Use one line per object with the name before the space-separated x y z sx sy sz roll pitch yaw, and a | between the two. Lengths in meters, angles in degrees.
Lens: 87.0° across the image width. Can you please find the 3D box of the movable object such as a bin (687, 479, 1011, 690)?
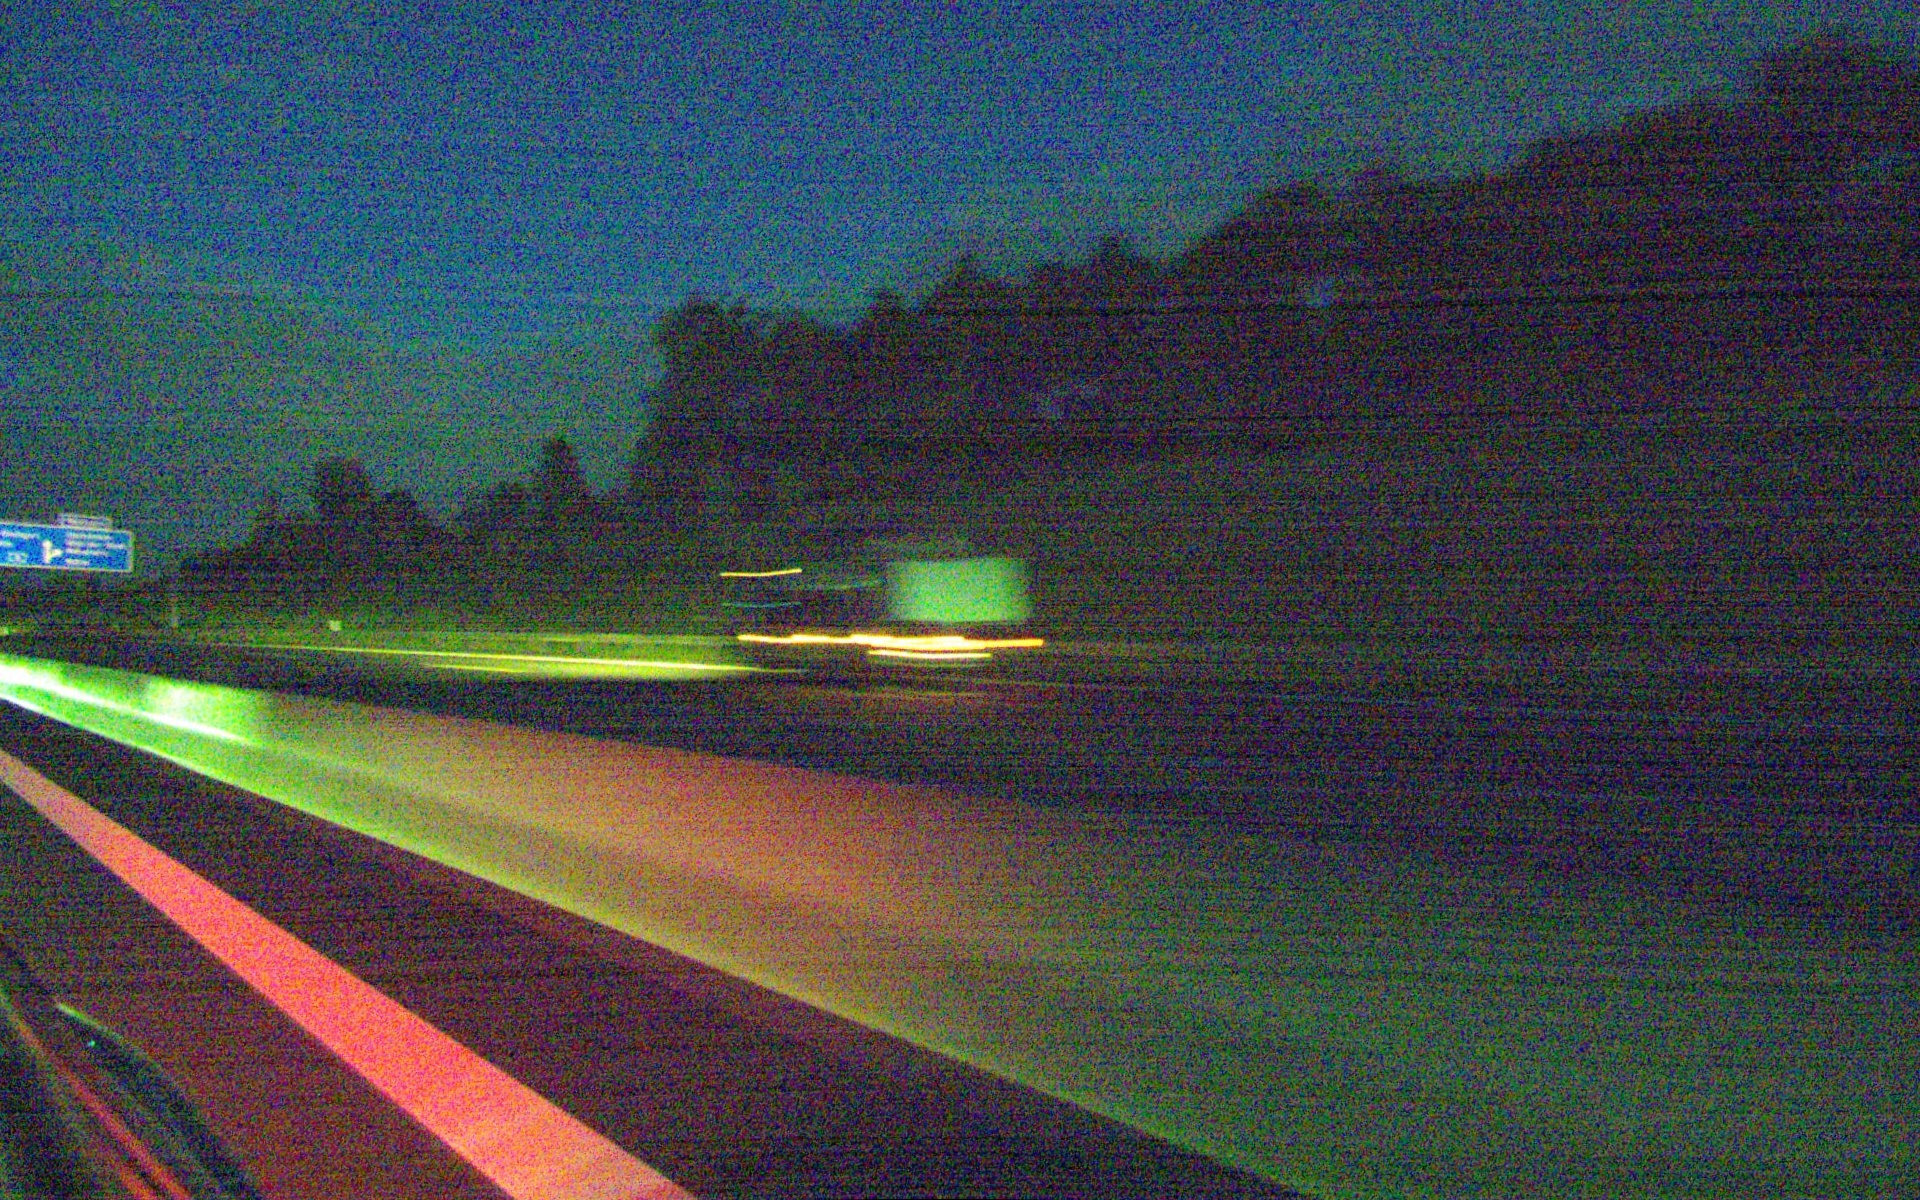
movable object such as a bin | -2.639 -0.212 21.620 7.681 3.798 2.269 -1 -1 41
